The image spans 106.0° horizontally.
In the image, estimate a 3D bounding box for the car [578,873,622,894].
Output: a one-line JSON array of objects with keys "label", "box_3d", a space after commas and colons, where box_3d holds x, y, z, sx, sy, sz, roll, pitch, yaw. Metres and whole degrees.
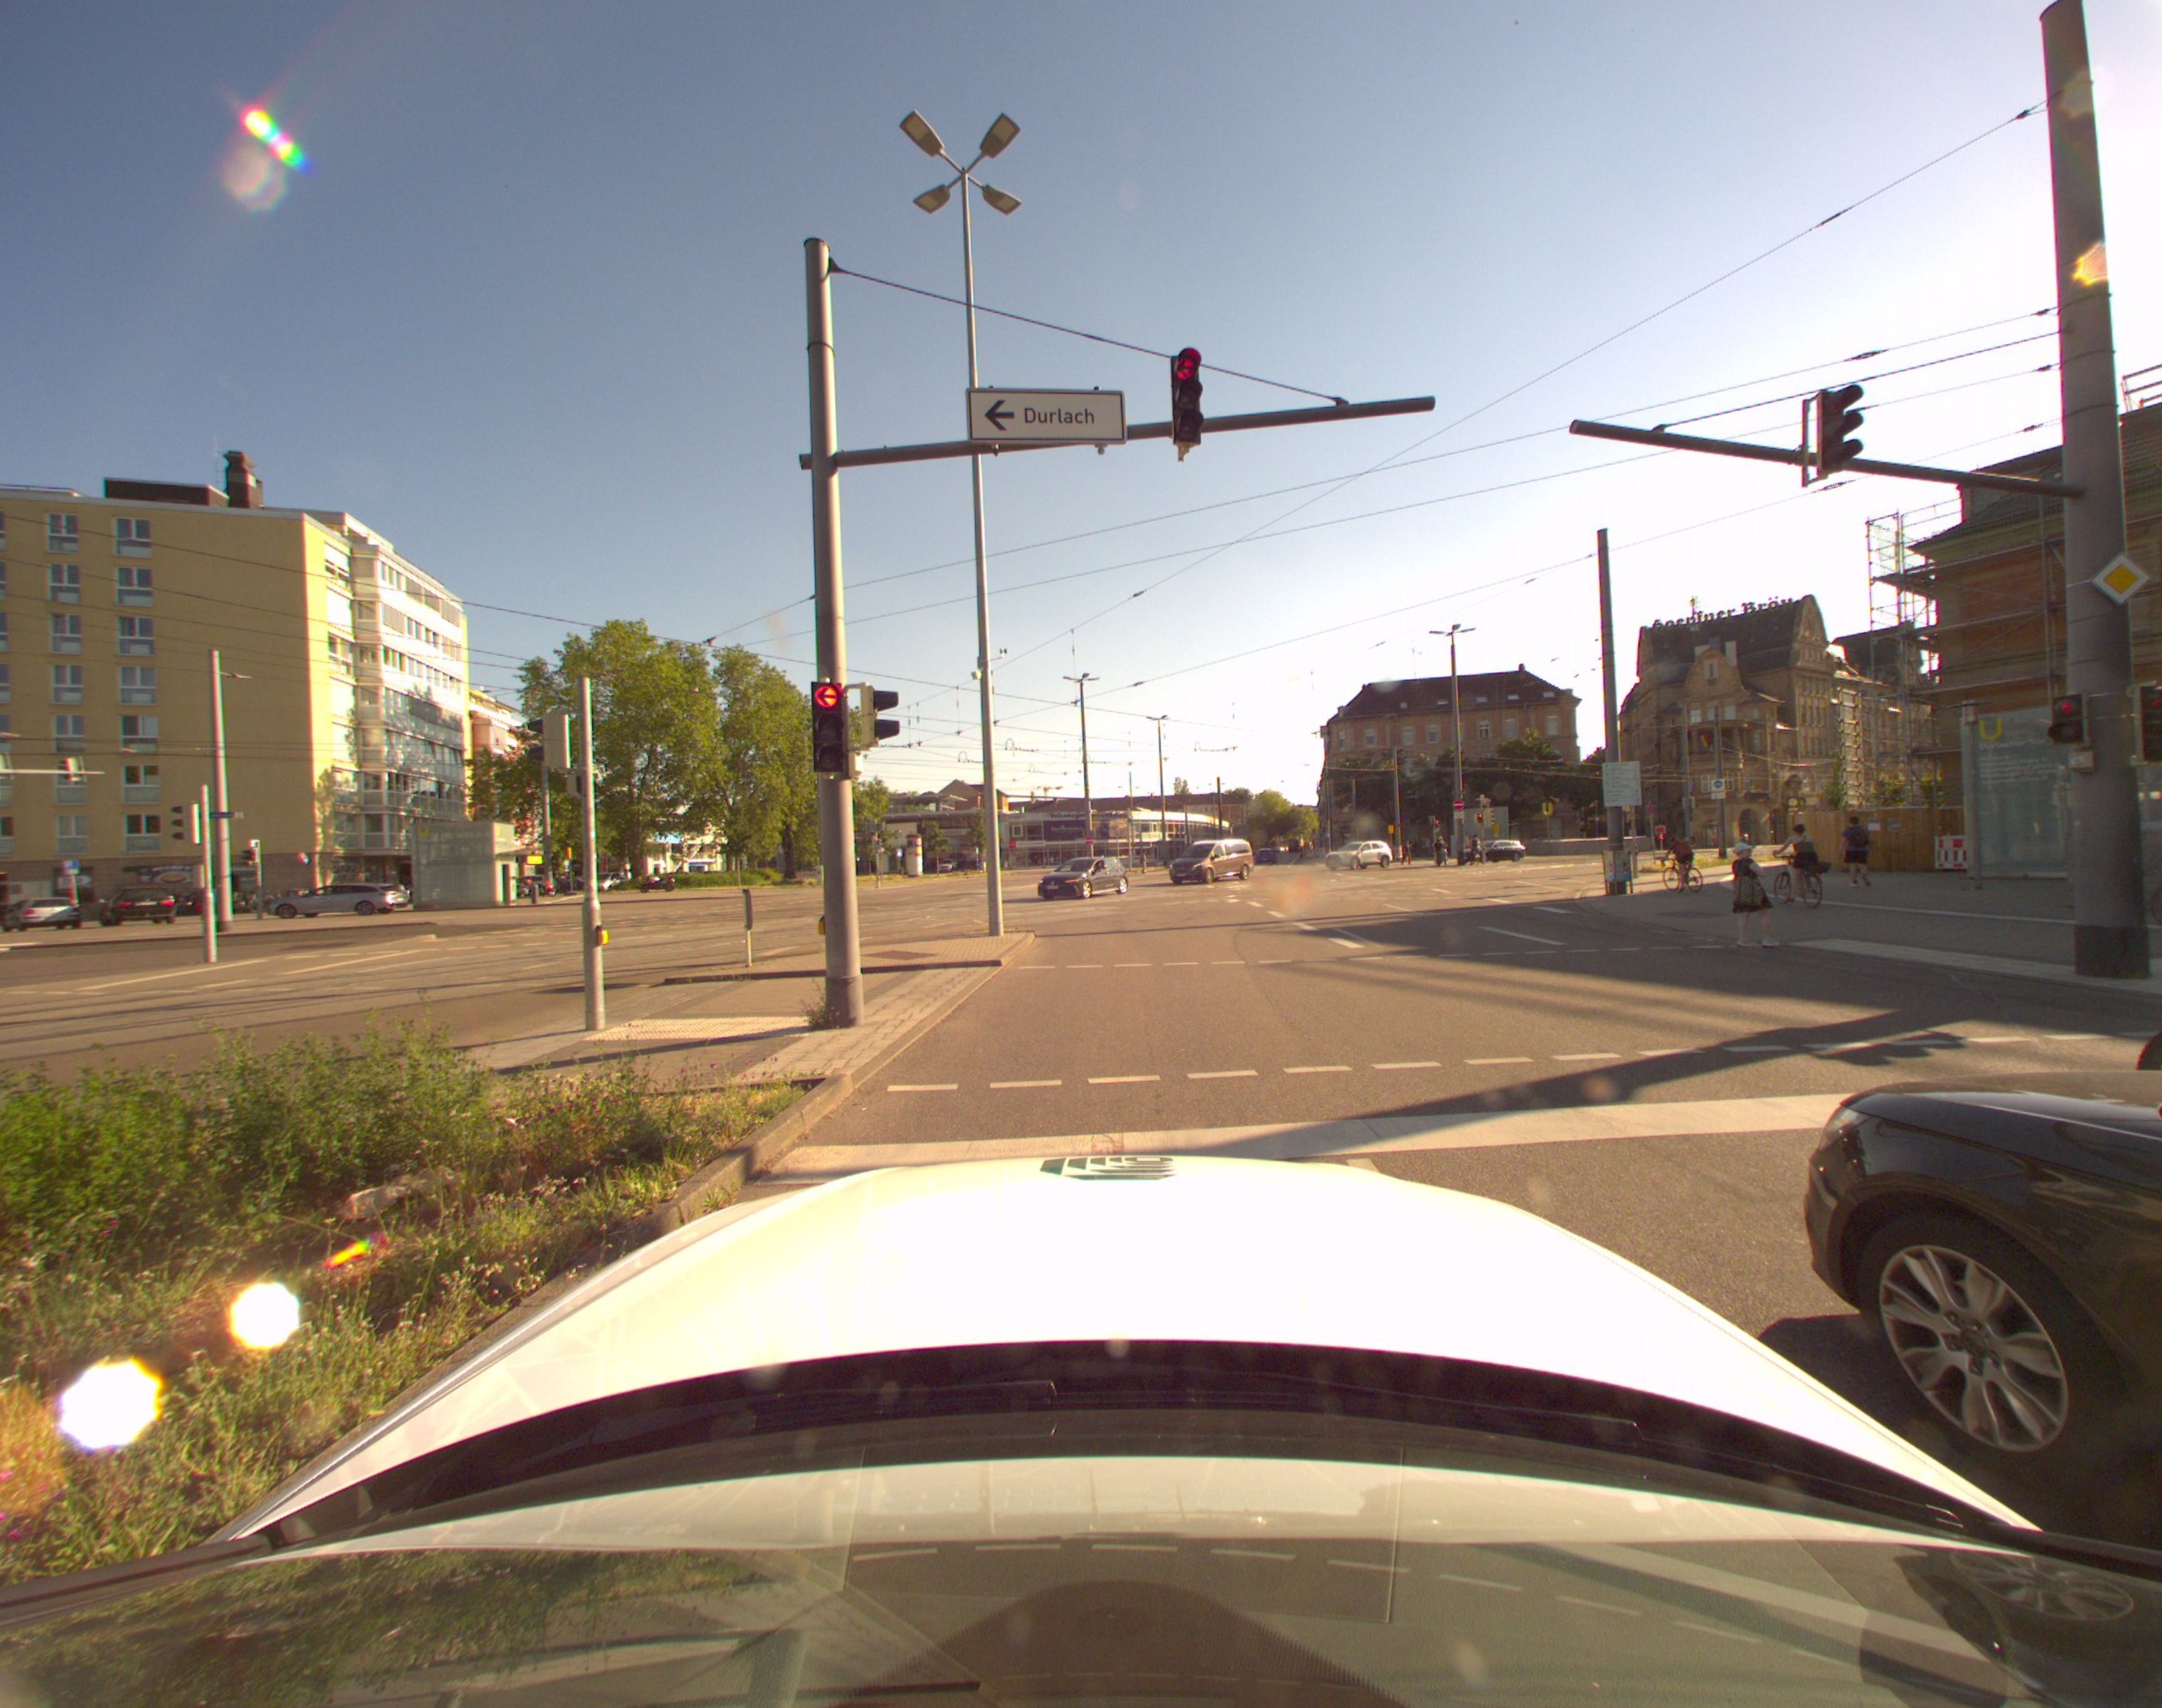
[{"label": "car", "box_3d": [-37.477, 2.274, 63.569, 1.850, 1.452, 3.980, -2, 0, -14]}]

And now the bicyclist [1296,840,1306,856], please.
[{"label": "bicyclist", "box_3d": [27.944, -0.767, 103.302, 1.110, 1.900, 1.079, -1, 1, 19]}]

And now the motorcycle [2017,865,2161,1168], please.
[{"label": "motorcycle", "box_3d": [5.468, 0.740, 2.980, 1.091, 1.377, 2.655, -1, -1, 3]}]

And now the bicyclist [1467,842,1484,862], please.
[{"label": "bicyclist", "box_3d": [23.345, -0.127, 48.192, 0.850, 1.176, 0.719, -1, 1, 21]}]

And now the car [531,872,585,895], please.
[{"label": "car", "box_3d": [-47.208, 2.637, 73.593, 4.016, 1.857, 1.834, -2, 2, -33]}]

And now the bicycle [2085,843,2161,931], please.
[{"label": "bicycle", "box_3d": [14.953, 0.436, 10.615, 0.776, 1.156, 2.287, -2, 0, -4]}]

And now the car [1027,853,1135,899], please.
[{"label": "car", "box_3d": [0.084, 0.768, 29.801, 1.928, 1.486, 4.129, -2, 0, 33]}]

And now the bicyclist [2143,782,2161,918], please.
[{"label": "bicyclist", "box_3d": [14.935, -0.068, 10.581, 0.776, 1.830, 1.091, -2, 0, -4]}]

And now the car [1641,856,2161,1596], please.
[{"label": "car", "box_3d": [3.042, 0.734, 1.077, 1.796, 1.444, 3.975, -1, 0, -2]}]

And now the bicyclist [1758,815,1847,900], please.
[{"label": "bicyclist", "box_3d": [15.199, 0.078, 17.184, 0.775, 1.677, 1.093, -5, 0, 0]}]

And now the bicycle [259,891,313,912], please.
[{"label": "bicycle", "box_3d": [-45.287, 2.691, 46.416, 2.047, 1.090, 0.772, -2, 0, -18]}]

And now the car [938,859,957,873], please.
[{"label": "car", "box_3d": [-16.579, 1.481, 101.349, 1.990, 1.534, 3.995, -1, 2, -4]}]

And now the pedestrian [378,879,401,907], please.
[{"label": "pedestrian", "box_3d": [-42.318, 2.388, 49.866, 0.777, 1.676, 0.778, -2, 0, -15]}]

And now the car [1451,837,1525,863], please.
[{"label": "car", "box_3d": [26.676, -0.267, 53.399, 4.361, 1.563, 1.937, -2, 2, -23]}]

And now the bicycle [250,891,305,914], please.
[{"label": "bicycle", "box_3d": [-44.992, 2.707, 45.624, 2.047, 1.090, 0.772, -2, 0, -18]}]

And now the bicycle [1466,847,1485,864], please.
[{"label": "bicycle", "box_3d": [23.342, 0.092, 48.182, 0.850, 0.905, 2.316, -1, 2, 21]}]

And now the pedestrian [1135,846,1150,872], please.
[{"label": "pedestrian", "box_3d": [4.453, 0.378, 58.794, 0.986, 1.816, 0.920, -1, 1, 0]}]

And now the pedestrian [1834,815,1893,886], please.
[{"label": "pedestrian", "box_3d": [19.200, -0.081, 20.009, 0.690, 1.671, 0.833, -4, -1, 22]}]

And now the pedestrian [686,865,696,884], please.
[{"label": "pedestrian", "box_3d": [-41.162, 2.134, 85.891, 0.586, 2.013, 0.711, -2, 0, 1]}]

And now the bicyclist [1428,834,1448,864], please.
[{"label": "bicyclist", "box_3d": [20.951, -0.290, 47.824, 0.587, 1.778, 0.858, -2, -1, -34]}]

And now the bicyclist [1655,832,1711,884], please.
[{"label": "bicyclist", "box_3d": [16.544, 0.111, 22.409, 0.717, 1.384, 1.076, -1, -2, 2]}]

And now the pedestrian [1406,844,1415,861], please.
[{"label": "pedestrian", "box_3d": [25.912, -0.098, 64.043, 0.421, 1.339, 0.601, -2, 0, 2]}]

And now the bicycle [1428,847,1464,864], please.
[{"label": "bicycle", "box_3d": [21.636, 0.095, 48.278, 2.313, 0.905, 0.851, -2, 2, -35]}]

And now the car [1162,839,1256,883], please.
[{"label": "car", "box_3d": [6.128, 0.312, 38.512, 1.929, 1.893, 4.880, -2, 0, 43]}]

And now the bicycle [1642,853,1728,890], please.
[{"label": "bicycle", "box_3d": [16.553, 0.489, 22.406, 0.717, 0.952, 2.250, -1, -2, 2]}]

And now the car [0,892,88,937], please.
[{"label": "car", "box_3d": [-46.539, 2.665, 36.542, 3.949, 1.748, 1.851, 0, 2, 30]}]

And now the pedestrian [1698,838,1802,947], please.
[{"label": "pedestrian", "box_3d": [10.321, 0.568, 12.582, 1.092, 1.606, 0.697, -1, 1, -9]}]

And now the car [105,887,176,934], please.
[{"label": "car", "box_3d": [-43.640, 2.559, 37.771, 3.948, 1.857, 1.865, 0, 2, 38]}]

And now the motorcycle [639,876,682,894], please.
[{"label": "motorcycle", "box_3d": [-26.464, 1.936, 51.279, 2.286, 1.054, 0.685, -2, 1, -12]}]

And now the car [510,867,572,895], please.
[{"label": "car", "box_3d": [-43.117, 2.171, 65.139, 4.015, 2.013, 1.979, -2, 0, -33]}]

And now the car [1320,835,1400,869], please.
[{"label": "car", "box_3d": [16.458, -0.118, 47.932, 4.871, 1.799, 1.932, -2, 0, -35]}]

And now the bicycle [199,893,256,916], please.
[{"label": "bicycle", "box_3d": [-47.070, 2.772, 44.938, 2.047, 1.090, 0.772, -2, 0, -18]}]

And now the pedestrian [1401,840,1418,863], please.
[{"label": "pedestrian", "box_3d": [24.305, -0.169, 60.316, 0.921, 1.676, 0.783, -2, 0, 1]}]

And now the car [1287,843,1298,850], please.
[{"label": "car", "box_3d": [54.262, -1.949, 208.774, 1.795, 1.655, 3.919, -1, 2, 1]}]

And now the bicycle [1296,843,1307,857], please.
[{"label": "bicycle", "box_3d": [27.935, -0.554, 103.213, 1.126, 1.690, 4.020, -1, 2, 18]}]

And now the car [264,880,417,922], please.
[{"label": "car", "box_3d": [-32.722, 2.036, 36.149, 4.559, 1.517, 1.940, -2, 0, -20]}]

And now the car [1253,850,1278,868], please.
[{"label": "car", "box_3d": [17.629, 0.475, 77.966, 1.936, 1.594, 4.628, -2, 0, 9]}]

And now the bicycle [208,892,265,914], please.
[{"label": "bicycle", "box_3d": [-47.407, 2.757, 45.741, 2.047, 1.090, 0.772, -2, 0, -18]}]

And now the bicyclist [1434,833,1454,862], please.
[{"label": "bicyclist", "box_3d": [21.470, -0.404, 48.155, 0.654, 1.690, 0.851, -2, 2, -35]}]

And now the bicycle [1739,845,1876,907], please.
[{"label": "bicycle", "box_3d": [15.233, 0.441, 17.181, 0.775, 1.156, 2.291, -5, 0, 0]}]

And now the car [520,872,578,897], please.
[{"label": "car", "box_3d": [-45.317, 2.539, 69.455, 4.016, 1.857, 1.834, -2, 2, -33]}]
